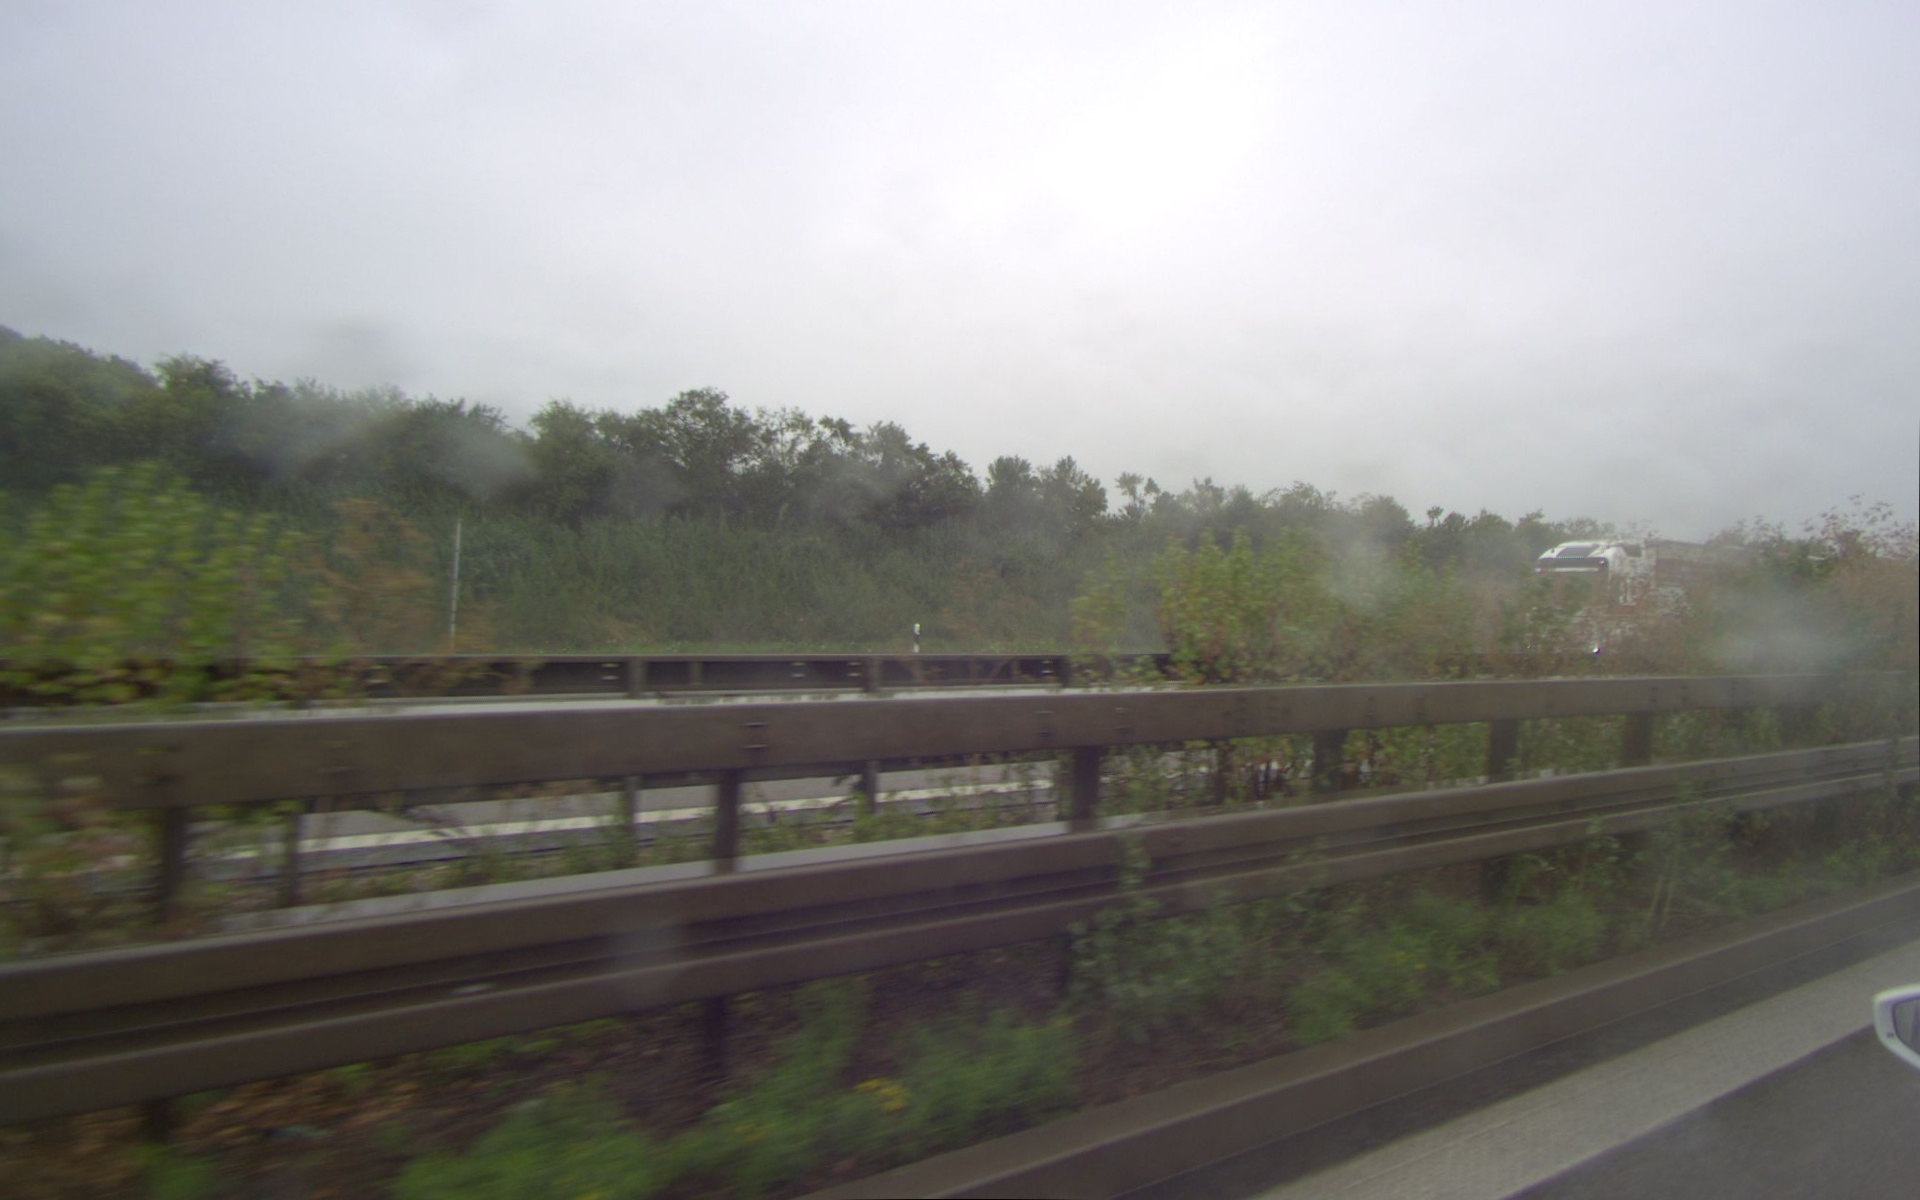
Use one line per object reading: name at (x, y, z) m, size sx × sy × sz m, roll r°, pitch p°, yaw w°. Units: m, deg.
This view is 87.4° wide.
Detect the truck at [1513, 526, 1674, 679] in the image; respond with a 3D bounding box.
truck at (19.007, 0.116, 30.150) m, size 4.031 × 4.283 × 2.514 m, roll 2°, pitch 0°, yaw -31°

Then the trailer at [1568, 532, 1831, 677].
trailer at (25.401, 0.300, 34.095) m, size 12.797 × 4.277 × 2.505 m, roll 2°, pitch 0°, yaw -32°
